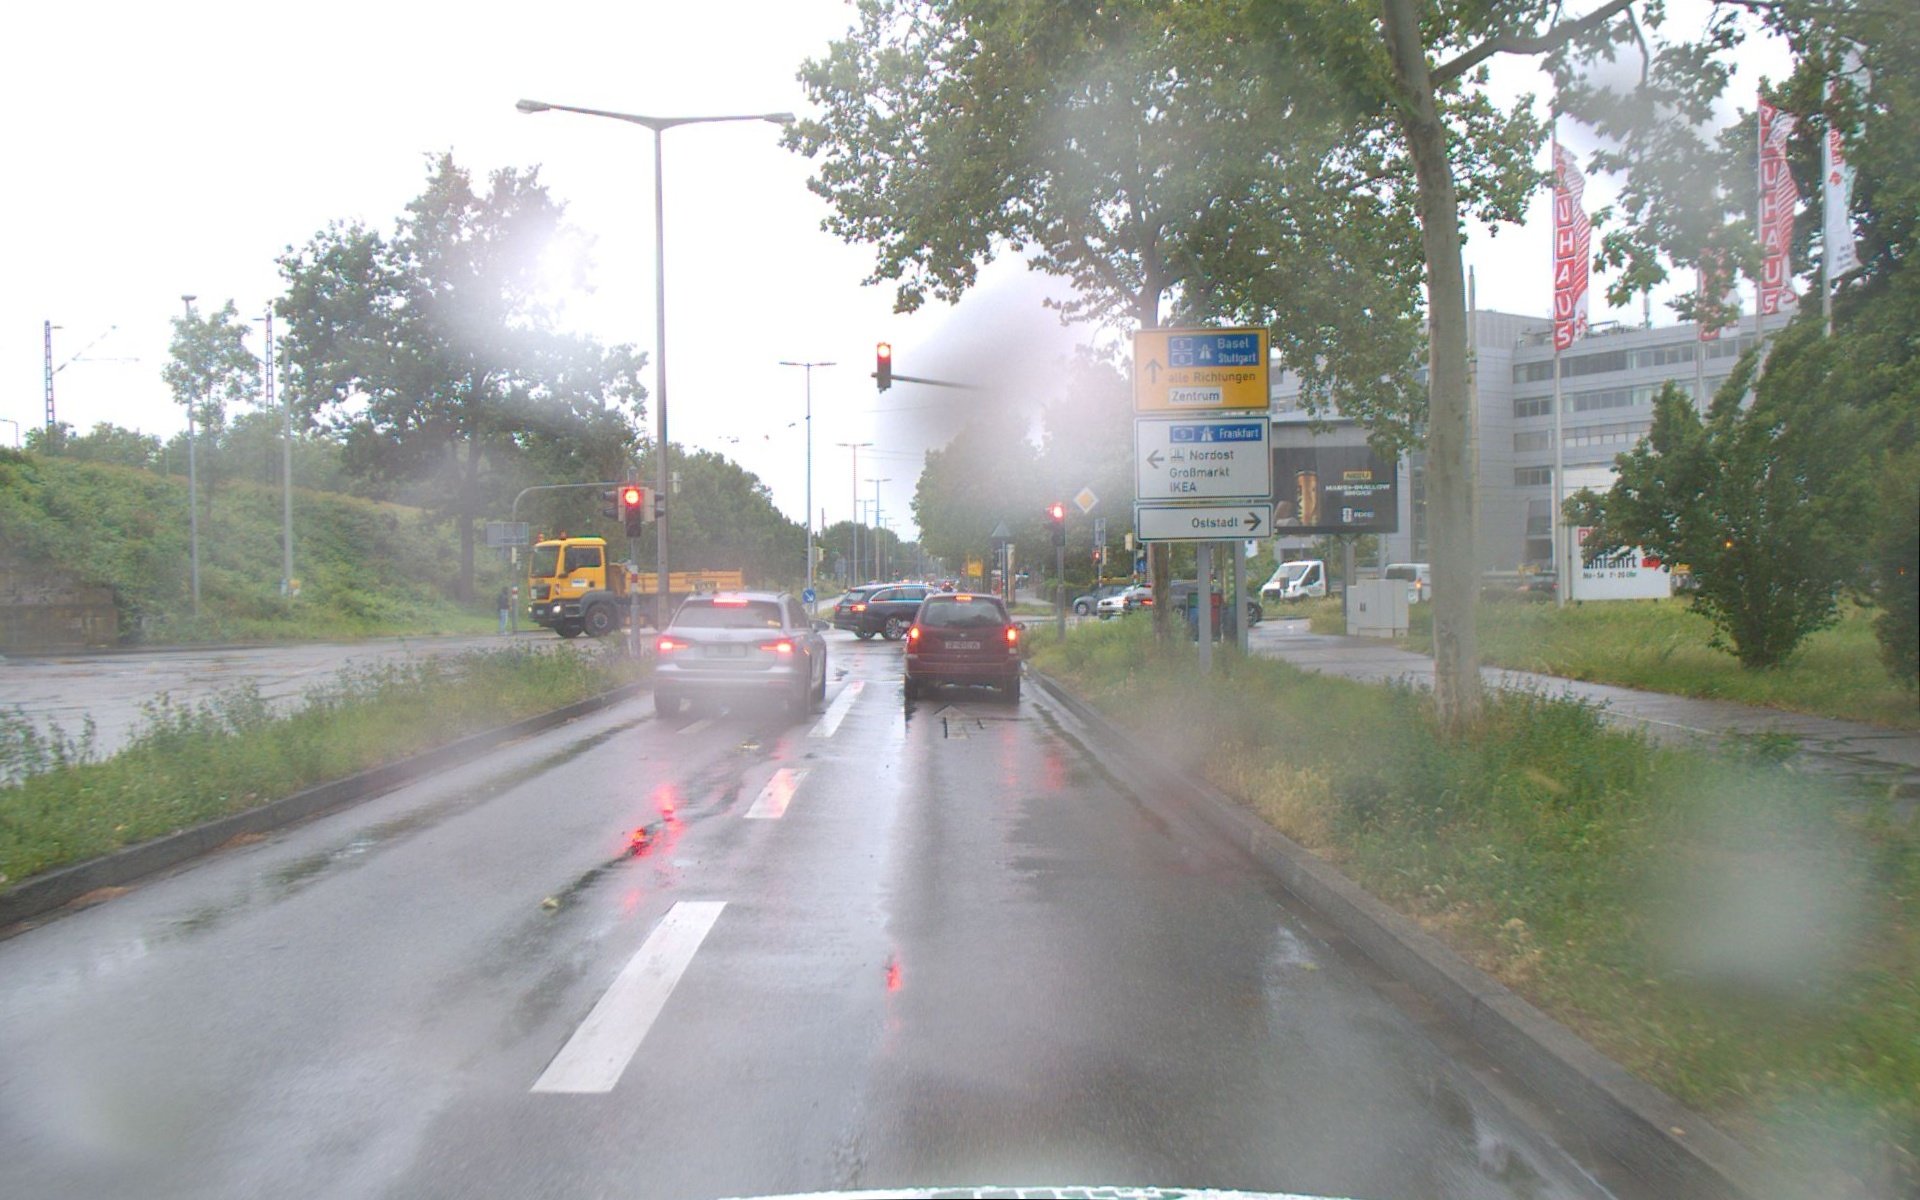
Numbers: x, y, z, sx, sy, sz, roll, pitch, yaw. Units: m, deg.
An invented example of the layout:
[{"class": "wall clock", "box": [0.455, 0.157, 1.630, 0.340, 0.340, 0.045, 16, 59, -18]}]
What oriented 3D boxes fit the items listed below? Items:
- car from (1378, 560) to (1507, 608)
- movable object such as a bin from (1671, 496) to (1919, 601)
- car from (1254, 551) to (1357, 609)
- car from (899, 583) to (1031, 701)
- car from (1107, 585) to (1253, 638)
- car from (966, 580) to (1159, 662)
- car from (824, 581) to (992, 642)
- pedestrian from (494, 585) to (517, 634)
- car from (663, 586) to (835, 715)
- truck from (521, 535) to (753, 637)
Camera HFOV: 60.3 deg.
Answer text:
[{"class": "car", "box": [16.616, -0.566, 56.880, 4.327, 1.564, 1.784, -1, 0, -30]}, {"class": "movable object such as a bin", "box": [56.935, -3.226, 111.256, 8.168, 6.393, 14.792, 1, -1, -34]}, {"class": "car", "box": [14.689, -0.858, 70.264, 4.339, 2.228, 1.779, -4, 2, -36]}, {"class": "car", "box": [0.040, 0.568, 24.611, 1.760, 1.564, 4.386, 1, 0, -1]}, {"class": "car", "box": [6.767, 0.326, 50.784, 4.327, 1.564, 1.784, 0, 0, -30]}, {"class": "car", "box": [2.364, 0.425, 37.286, 4.349, 1.563, 1.775, -4, 3, -41]}, {"class": "car", "box": [-1.428, 0.300, 45.812, 4.327, 1.564, 1.784, -1, 0, -30]}, {"class": "pedestrian", "box": [-17.015, 0.364, 61.965, 0.522, 1.817, 0.673, 0, -1, 16]}, {"class": "car", "box": [-2.558, 0.566, 20.957, 1.656, 1.458, 4.573, 0, 0, -1]}, {"class": "truck", "box": [-10.395, -0.454, 53.635, 6.977, 3.107, 2.611, -1, 0, -38]}]
